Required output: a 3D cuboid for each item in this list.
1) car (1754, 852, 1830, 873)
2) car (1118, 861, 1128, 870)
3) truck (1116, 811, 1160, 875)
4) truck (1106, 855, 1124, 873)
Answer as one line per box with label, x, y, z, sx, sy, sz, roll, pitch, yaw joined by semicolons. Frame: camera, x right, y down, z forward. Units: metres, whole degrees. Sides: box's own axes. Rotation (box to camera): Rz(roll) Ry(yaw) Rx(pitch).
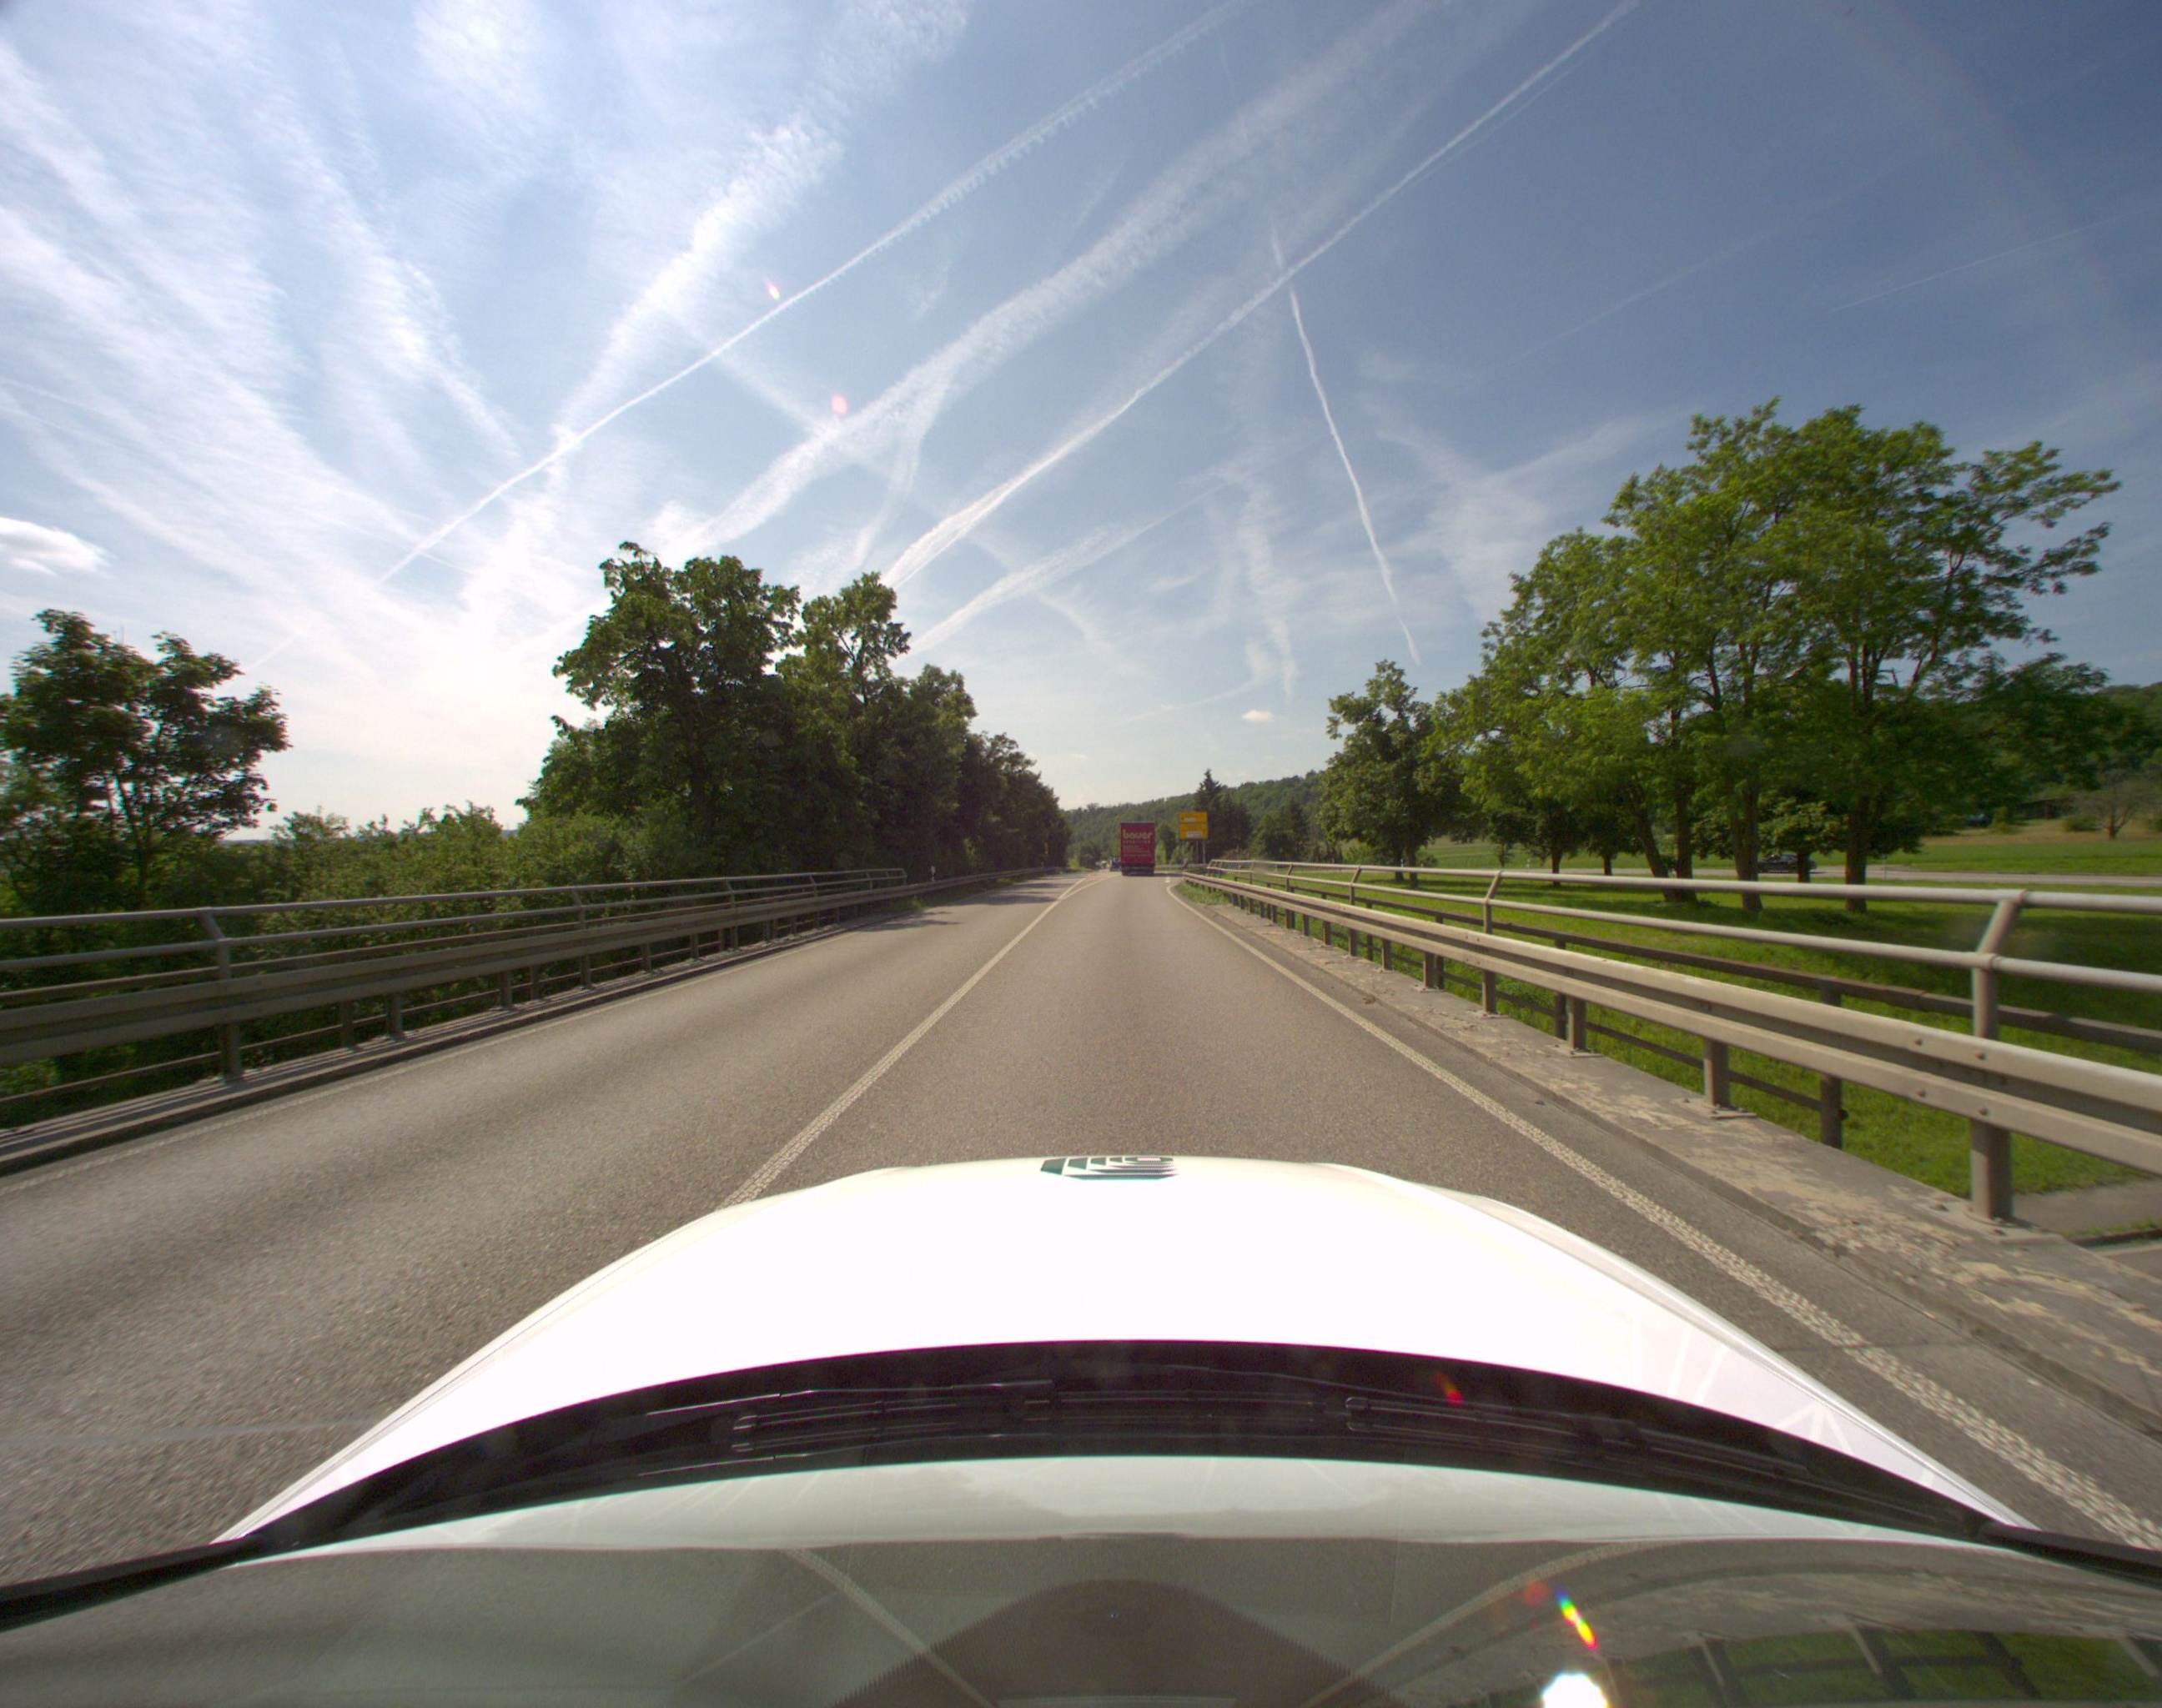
car;59.339;0.675;68.059;2.064;1.589;4.401;-1;1;-19
car;9.419;2.584;181.234;1.987;1.810;3.999;2;-2;0
truck;4.586;-0.744;65.441;3.158;4.625;13.558;0;0;4
truck;8.806;2.711;212.186;3.893;4.370;13.287;1;-2;0
